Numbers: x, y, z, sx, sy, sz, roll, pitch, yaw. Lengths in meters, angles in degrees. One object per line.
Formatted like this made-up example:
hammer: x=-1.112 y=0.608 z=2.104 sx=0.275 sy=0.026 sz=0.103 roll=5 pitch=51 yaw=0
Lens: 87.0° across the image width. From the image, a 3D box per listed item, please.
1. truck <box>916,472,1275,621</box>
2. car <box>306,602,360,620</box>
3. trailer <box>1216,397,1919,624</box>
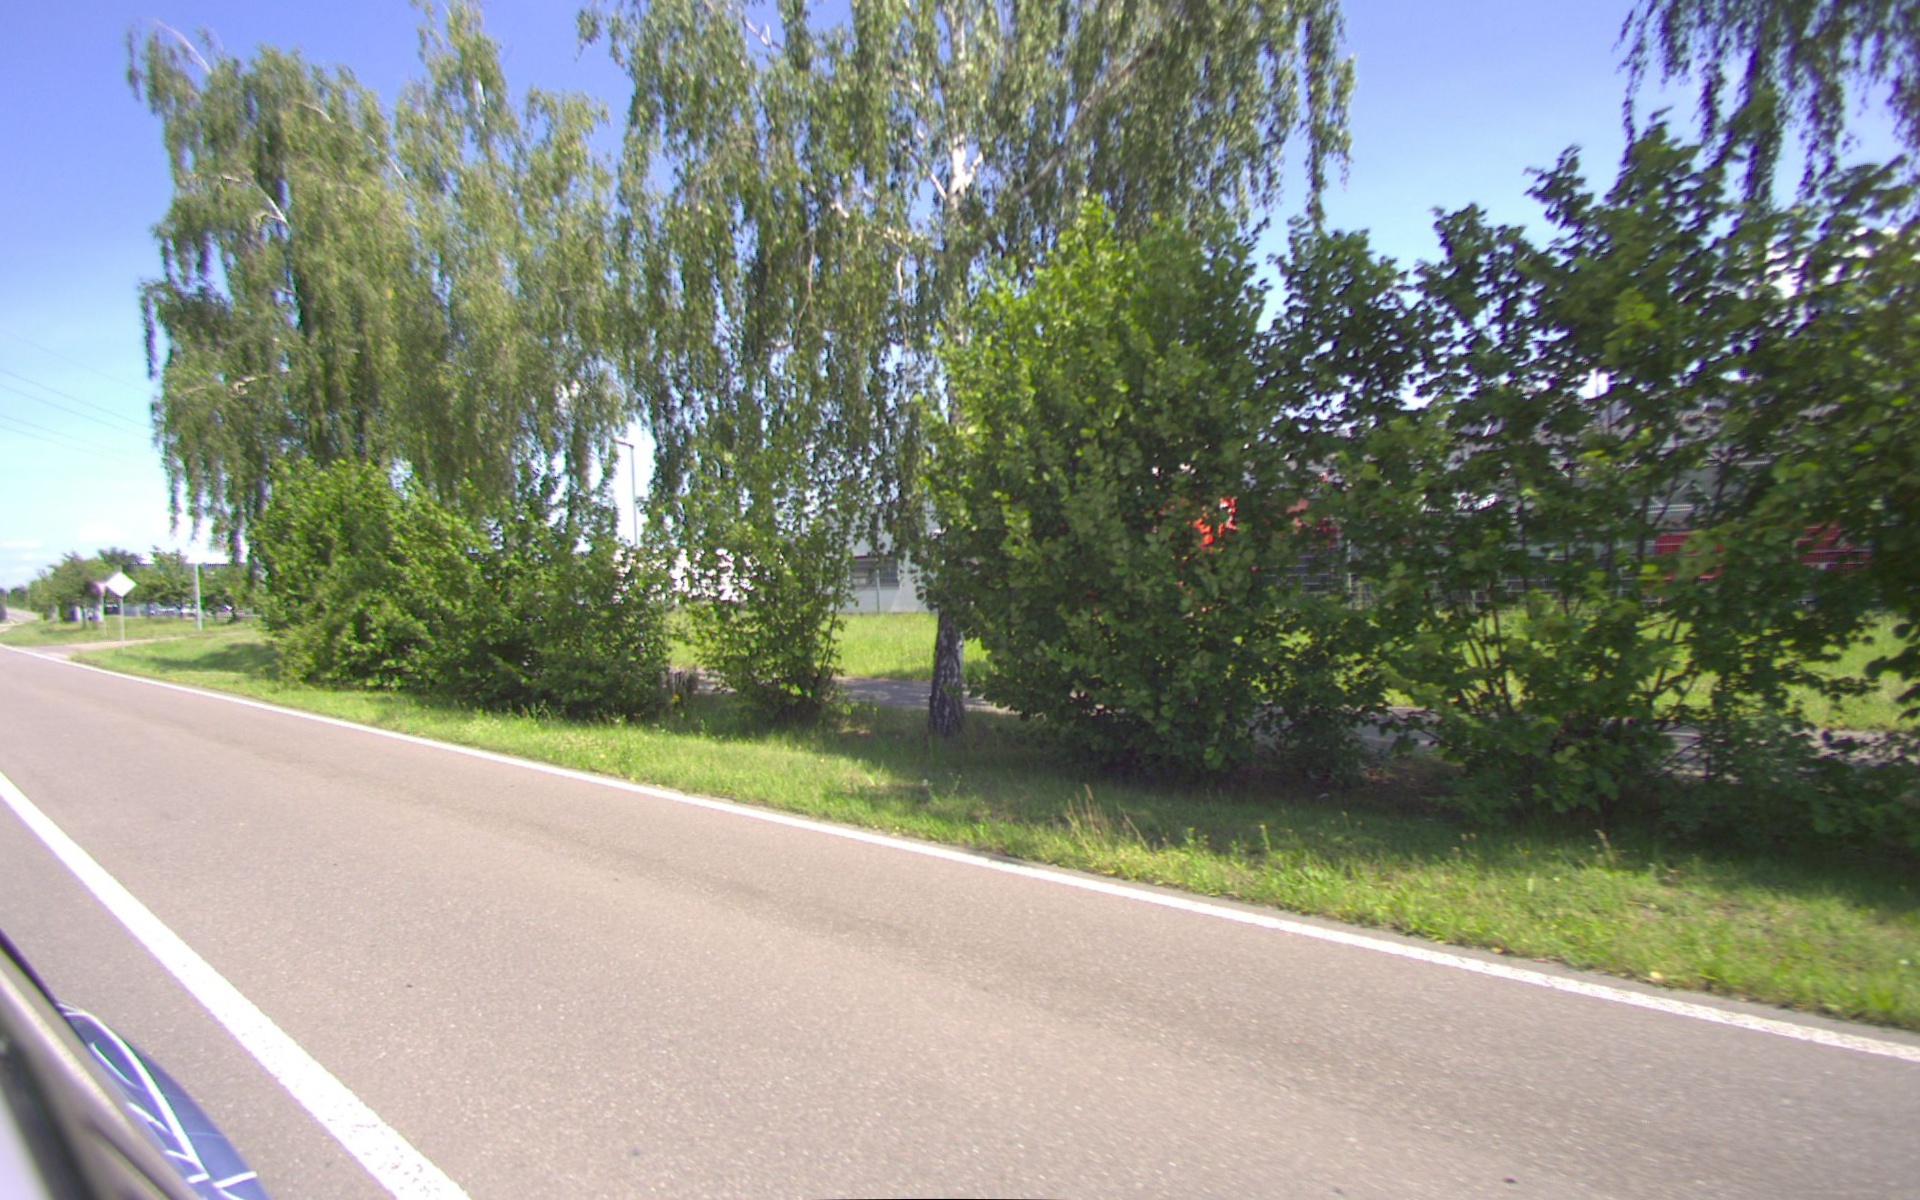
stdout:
truck: x=3.543 y=-1.294 z=29.732 sx=10.594 sy=3.672 sz=3.068 roll=-1 pitch=0 yaw=43
car: x=-61.733 y=1.074 z=99.667 sx=1.870 sy=1.699 sz=4.166 roll=-1 pitch=0 yaw=41
trailer: x=12.884 y=-1.419 z=21.065 sx=14.925 sy=3.672 sz=3.255 roll=-1 pitch=0 yaw=43
